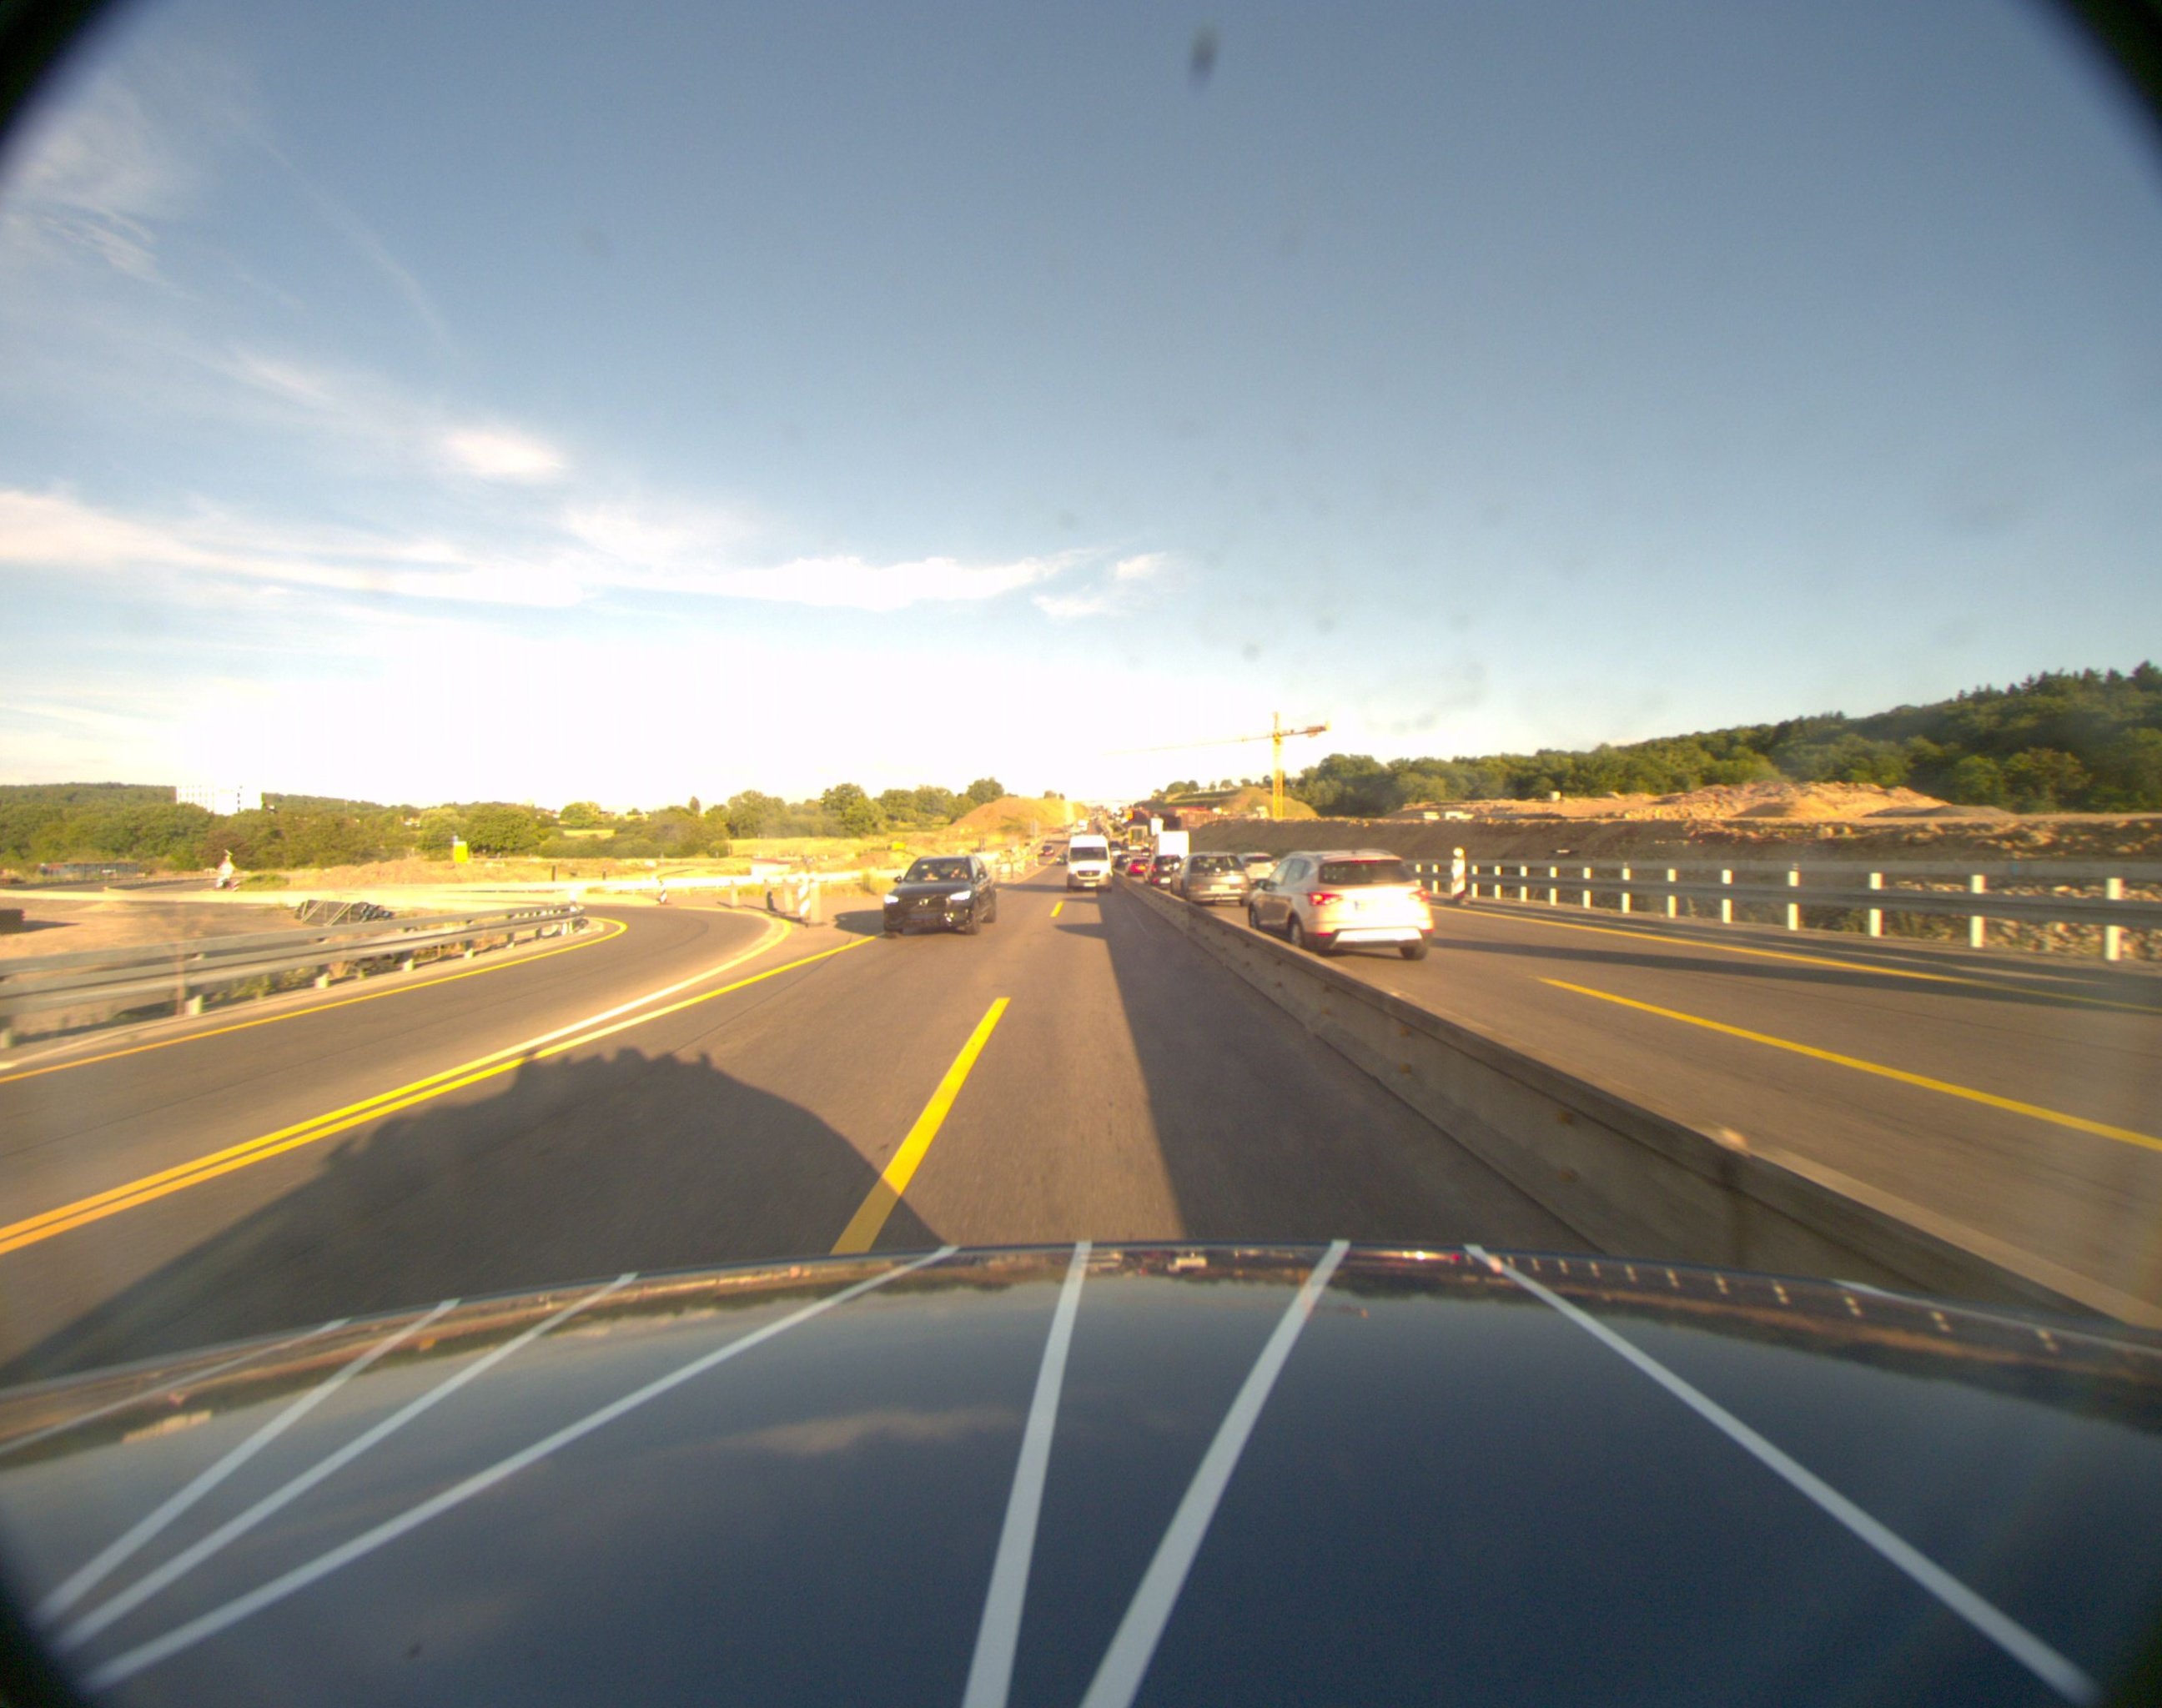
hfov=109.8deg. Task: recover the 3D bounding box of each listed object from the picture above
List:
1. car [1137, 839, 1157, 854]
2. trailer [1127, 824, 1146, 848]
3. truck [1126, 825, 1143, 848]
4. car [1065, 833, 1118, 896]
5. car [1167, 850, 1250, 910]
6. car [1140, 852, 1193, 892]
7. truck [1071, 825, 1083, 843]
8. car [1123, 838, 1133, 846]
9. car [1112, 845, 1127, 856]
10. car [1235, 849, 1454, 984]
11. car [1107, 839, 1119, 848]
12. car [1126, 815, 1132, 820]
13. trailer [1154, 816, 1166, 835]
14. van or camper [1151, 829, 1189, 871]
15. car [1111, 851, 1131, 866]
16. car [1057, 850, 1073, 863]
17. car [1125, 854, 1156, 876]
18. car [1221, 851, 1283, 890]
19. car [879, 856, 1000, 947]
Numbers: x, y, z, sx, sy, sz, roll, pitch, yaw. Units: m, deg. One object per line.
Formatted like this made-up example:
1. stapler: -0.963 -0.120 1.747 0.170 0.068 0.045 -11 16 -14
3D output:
1. car: 8.084 -0.959 93.220 1.998 1.754 4.439 -2 1 1
2. trailer: 9.761 -3.152 134.498 2.780 4.008 13.680 -1 1 2
3. truck: 9.954 -3.293 140.901 2.776 4.058 5.775 -1 1 1
4. car: 0.482 0.408 33.845 2.109 2.518 5.220 -2 0 1
5. car: 3.746 0.699 23.136 1.747 1.574 4.705 -2 0 1
6. car: 3.801 0.749 34.556 1.832 1.630 4.529 -2 0 -1
7. truck: -0.895 -4.343 164.582 2.264 3.706 6.570 -5 1 -1
8. car: 9.601 -2.488 154.919 1.719 1.402 4.327 -1 2 6
9. car: 5.454 -0.583 108.889 1.866 1.424 4.154 -2 1 0
10. car: 3.624 0.751 11.264 1.771 1.526 3.999 -2 1 -1
11. car: 6.045 -2.034 143.759 1.916 1.600 4.493 -2 2 1
12. car: 16.541 -12.427 261.072 1.792 1.611 4.873 -2 4 8
13. trailer: 19.225 -7.031 185.204 2.536 4.191 13.931 -3 3 5
14. van or camper: 7.953 -0.367 68.449 2.464 3.478 7.413 -2 0 0
15. car: 4.157 0.496 79.973 1.820 1.454 4.705 -2 0 0
16. car: -1.907 0.300 91.476 1.791 1.477 4.000 -2 0 0
17. car: 4.309 0.785 55.719 1.820 1.454 4.705 -2 0 0
18. car: 7.343 0.662 33.022 1.695 1.559 4.292 -2 0 0
19. car: -3.092 0.954 17.682 1.902 1.703 4.886 -2 1 -1
